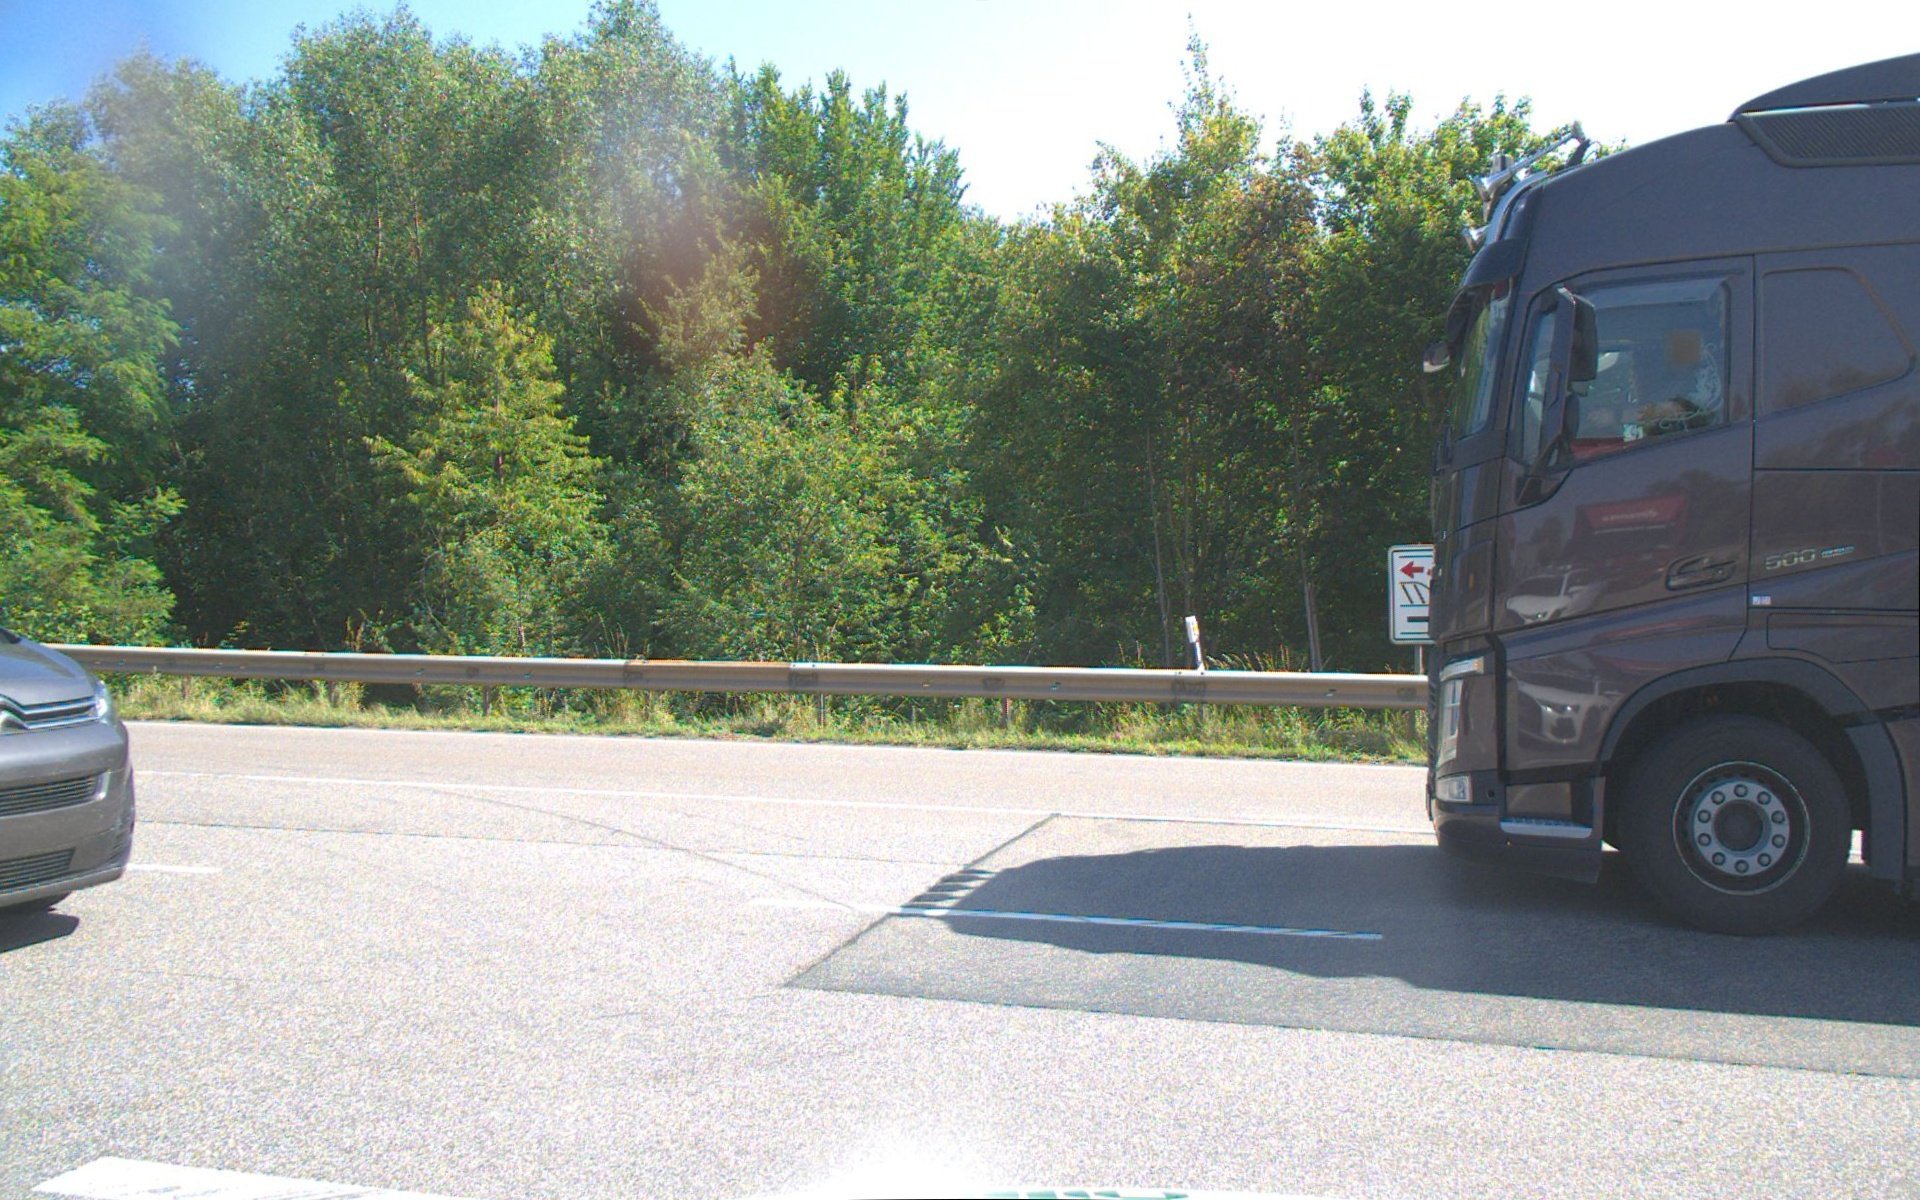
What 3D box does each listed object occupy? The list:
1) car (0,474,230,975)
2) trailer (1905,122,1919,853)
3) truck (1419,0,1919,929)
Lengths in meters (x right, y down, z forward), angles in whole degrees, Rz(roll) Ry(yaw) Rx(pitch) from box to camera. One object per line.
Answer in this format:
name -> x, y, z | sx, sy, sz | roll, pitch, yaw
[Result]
car -> -5.946, 0.463, 7.197 | 4.871, 1.912, 2.002 | 0, 0, 14
trailer -> 11.759, -0.598, 6.485 | 13.641, 4.238, 2.898 | 0, 0, 17
truck -> 5.387, -0.686, 8.381 | 5.825, 4.246, 2.882 | 1, 1, 16
